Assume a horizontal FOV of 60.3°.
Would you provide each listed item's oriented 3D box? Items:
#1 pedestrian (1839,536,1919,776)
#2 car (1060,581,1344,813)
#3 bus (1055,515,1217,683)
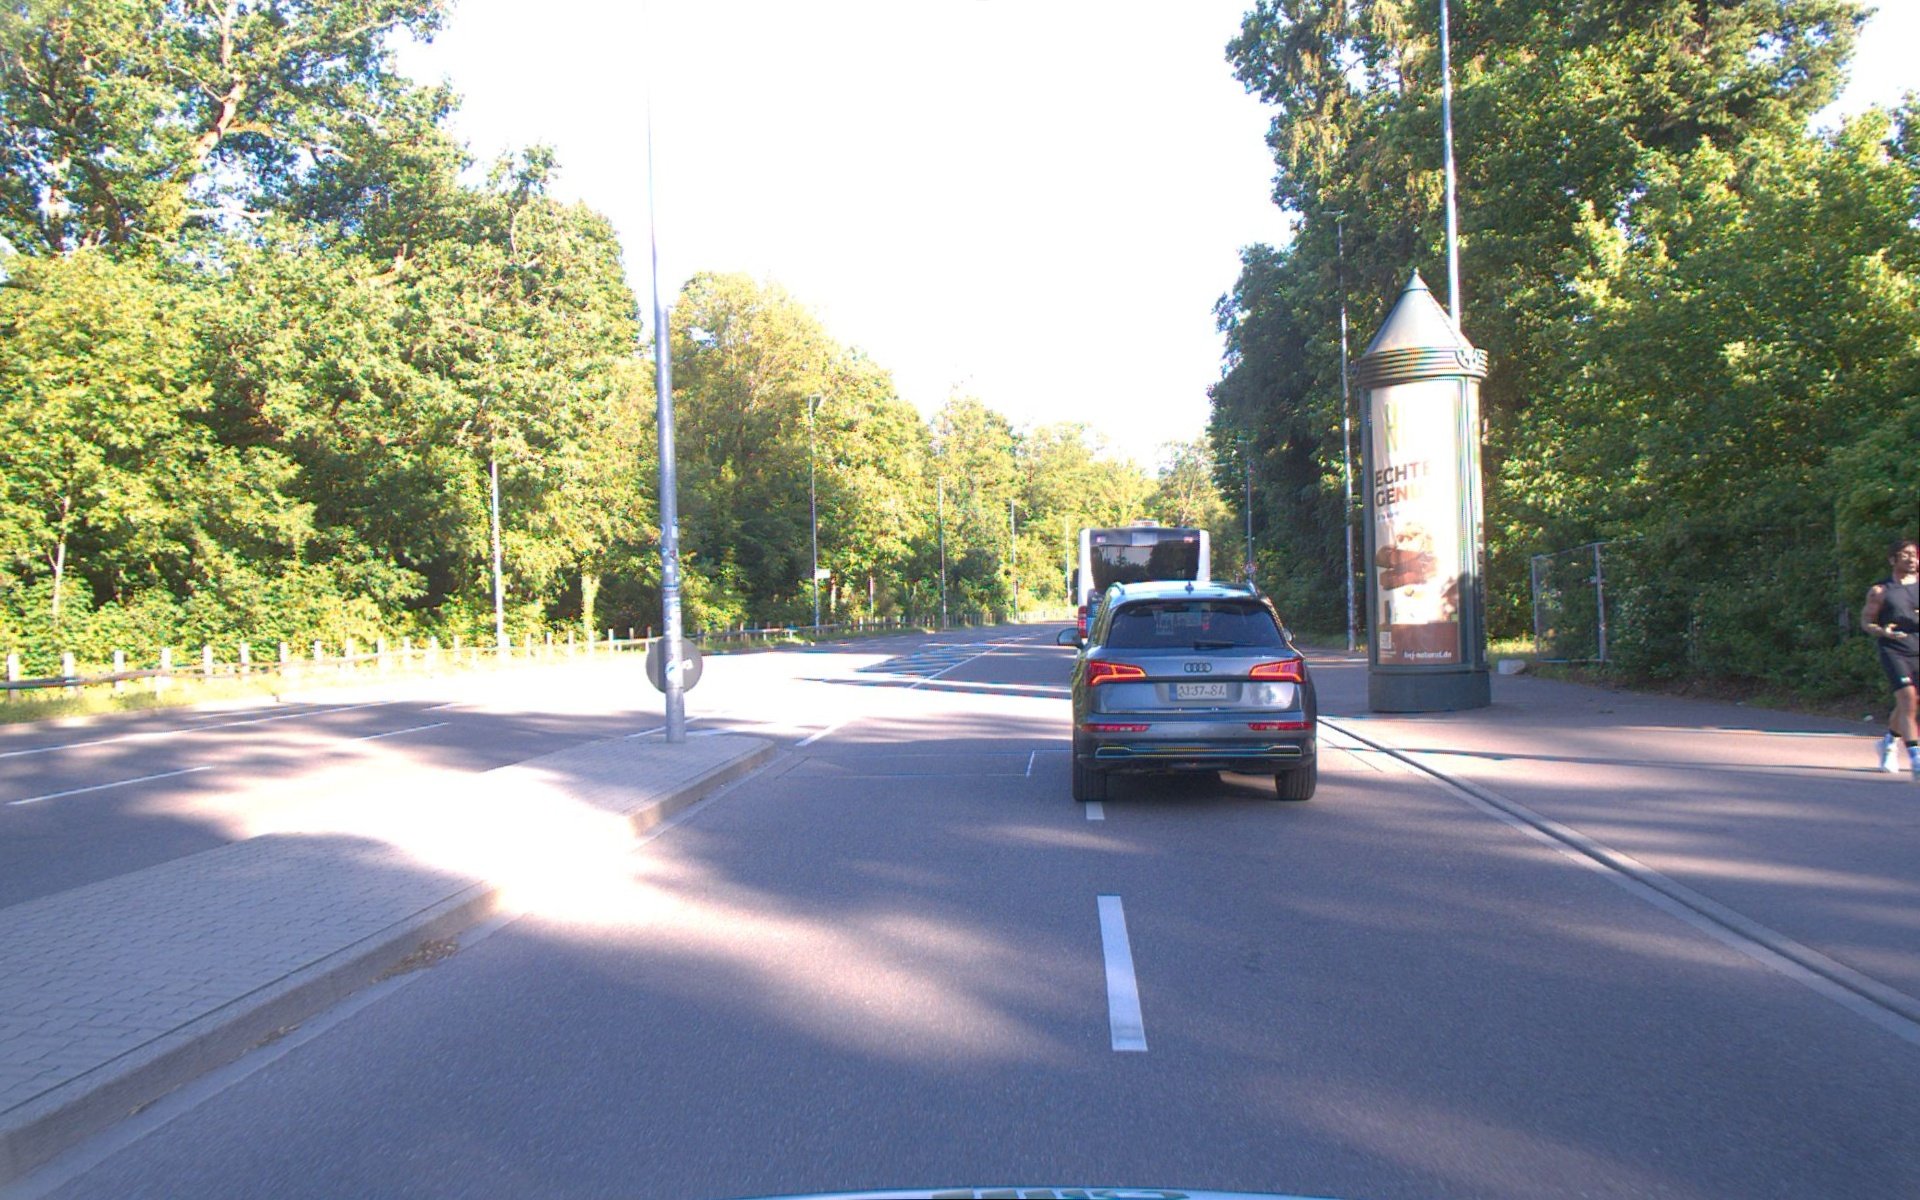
[{"bbox_3d":[7.006,0.403,12.276,0.612,1.718,0.883,0,-1,12],"label":"pedestrian"},{"bbox_3d":[1.846,0.685,13.964,1.853,1.633,4.545,0,0,2],"label":"car"},{"bbox_3d":[3.595,0.004,36.544,2.634,3.096,12.043,0,0,2],"label":"bus"}]
